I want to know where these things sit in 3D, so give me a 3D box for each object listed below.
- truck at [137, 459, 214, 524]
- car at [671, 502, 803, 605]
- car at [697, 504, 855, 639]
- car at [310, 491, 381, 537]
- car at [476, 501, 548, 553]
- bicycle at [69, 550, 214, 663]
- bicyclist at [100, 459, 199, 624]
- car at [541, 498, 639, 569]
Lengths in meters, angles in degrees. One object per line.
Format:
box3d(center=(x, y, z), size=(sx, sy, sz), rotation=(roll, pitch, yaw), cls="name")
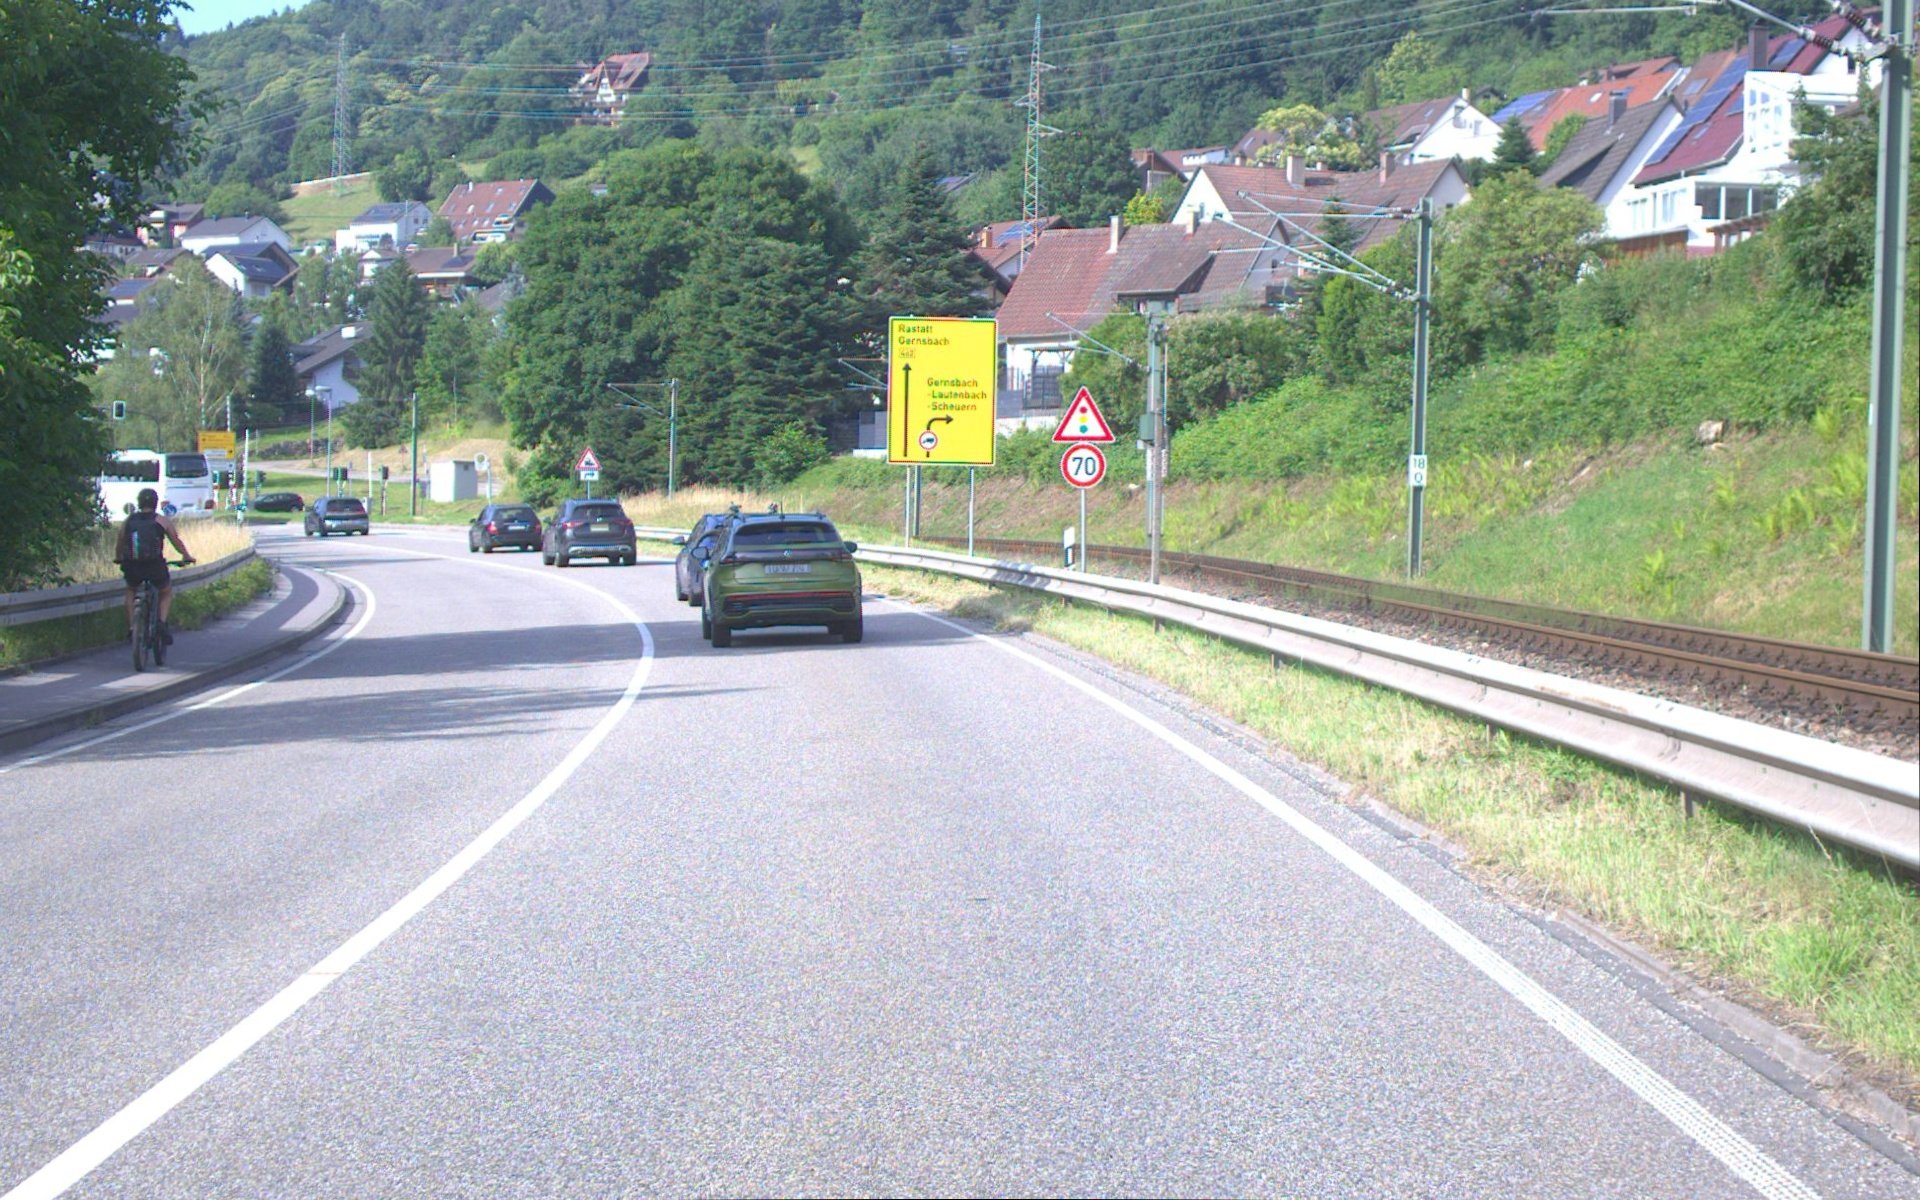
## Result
box3d(center=(-38.268, -5.316, 167.594), size=(2.711, 3.073, 6.111), rotation=(0, 2, -22), cls="truck")
box3d(center=(-3.576, -0.766, 54.499), size=(1.666, 1.554, 4.001), rotation=(0, 1, -10), cls="car")
box3d(center=(-2.184, -0.375, 40.182), size=(1.714, 1.450, 4.001), rotation=(-2, 2, -4), cls="car")
box3d(center=(-24.800, -3.460, 138.637), size=(2.063, 1.805, 4.001), rotation=(-1, 2, -22), cls="car")
box3d(center=(-13.591, -2.218, 104.127), size=(1.848, 1.521, 3.663), rotation=(-1, 2, -12), cls="car")
box3d(center=(-8.122, 0.047, 34.221), size=(0.557, 1.042, 2.229), rotation=(3, 2, 9), cls="bicycle")
box3d(center=(-8.056, -0.588, 34.202), size=(0.557, 1.581, 1.035), rotation=(3, 2, 8), cls="bicyclist")
box3d(center=(-9.071, -1.640, 84.131), size=(1.879, 1.681, 4.001), rotation=(0, 1, -13), cls="car")
